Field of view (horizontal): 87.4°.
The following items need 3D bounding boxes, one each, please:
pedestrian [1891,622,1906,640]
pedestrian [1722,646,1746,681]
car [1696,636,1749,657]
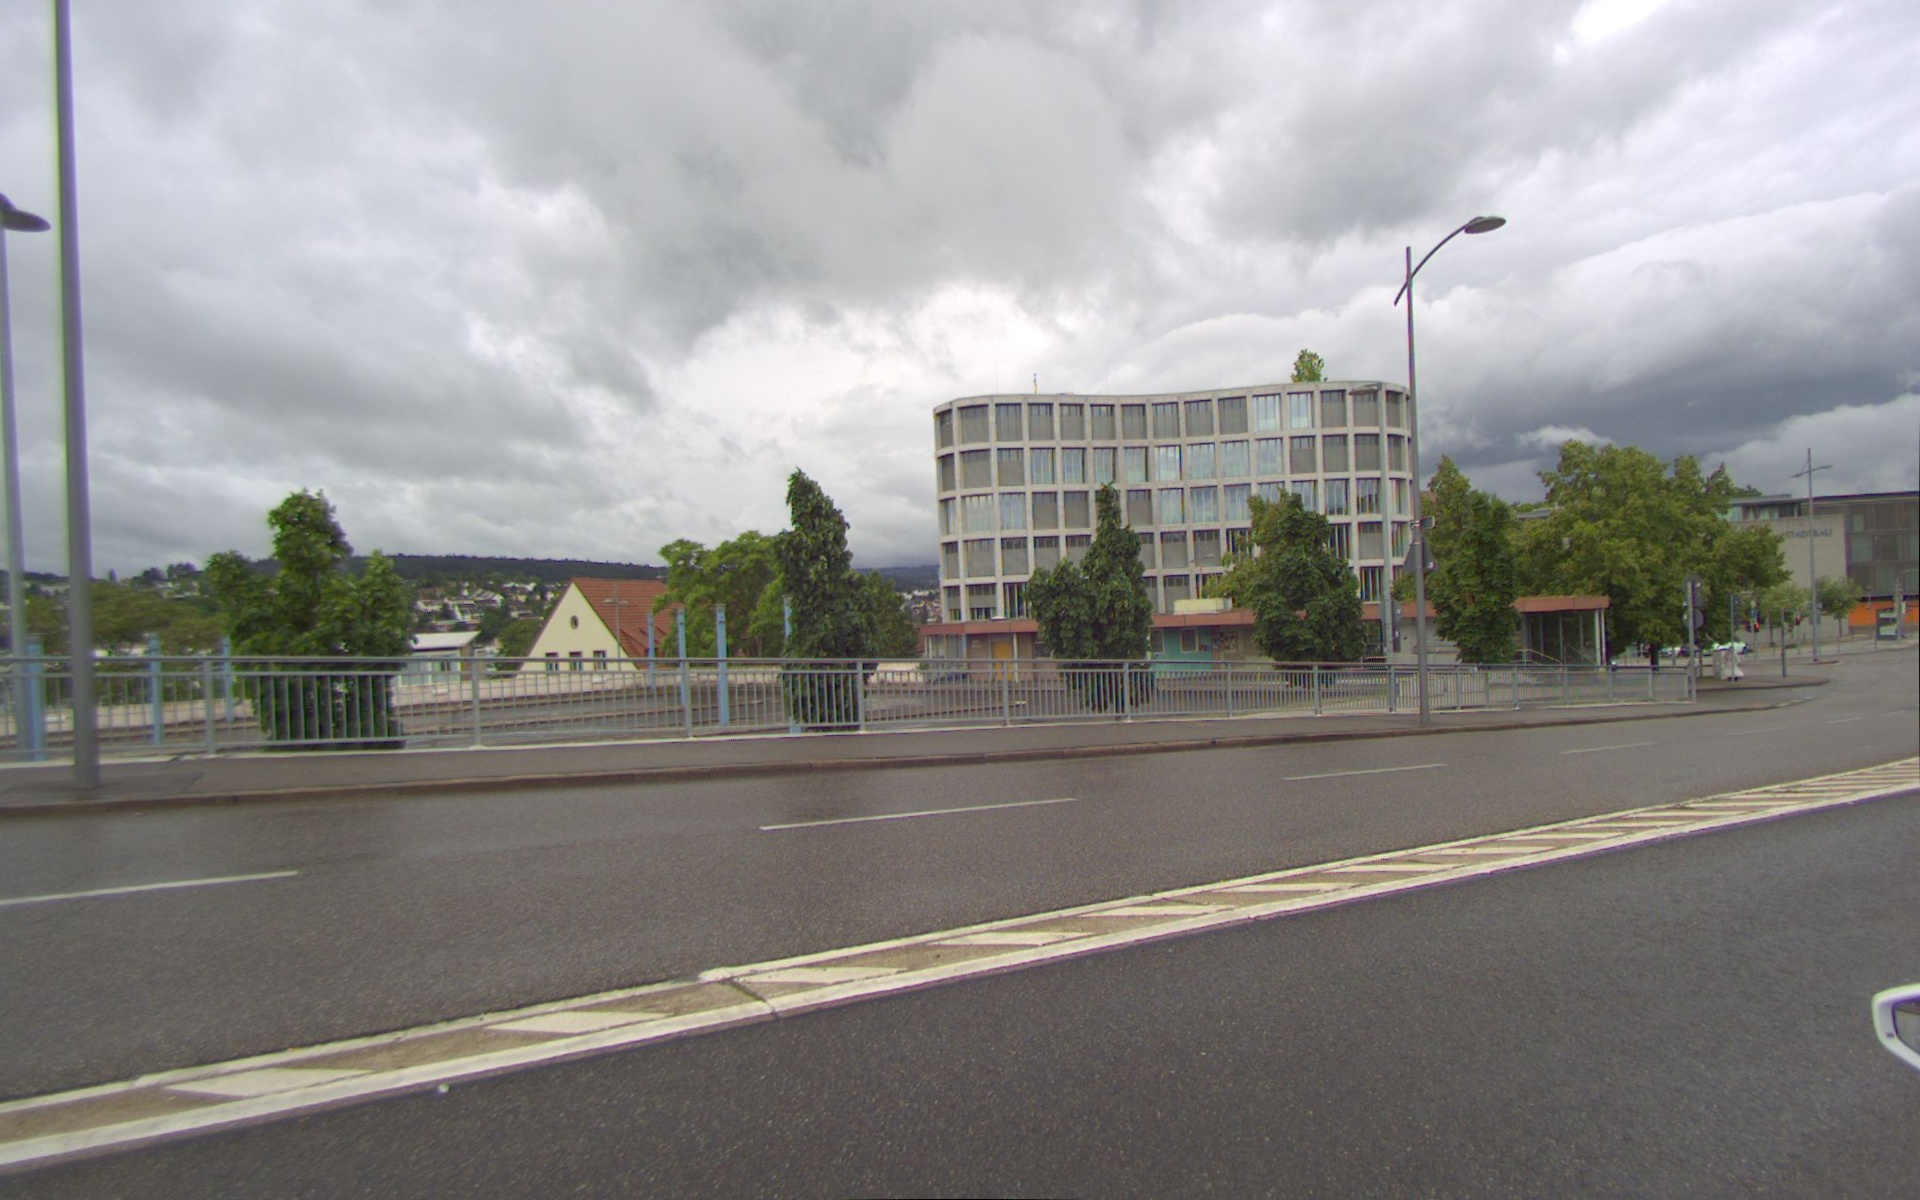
[{"bbox_3d":[76.652,2.520,82.071,0.713,1.410,0.675,-2,-2,-32],"label":"pedestrian"},{"bbox_3d":[35.889,2.963,46.564,0.624,1.590,0.647,1,-5,-35],"label":"pedestrian"},{"bbox_3d":[63.707,3.875,83.916,3.522,1.515,1.628,-3,-2,-15],"label":"car"}]
